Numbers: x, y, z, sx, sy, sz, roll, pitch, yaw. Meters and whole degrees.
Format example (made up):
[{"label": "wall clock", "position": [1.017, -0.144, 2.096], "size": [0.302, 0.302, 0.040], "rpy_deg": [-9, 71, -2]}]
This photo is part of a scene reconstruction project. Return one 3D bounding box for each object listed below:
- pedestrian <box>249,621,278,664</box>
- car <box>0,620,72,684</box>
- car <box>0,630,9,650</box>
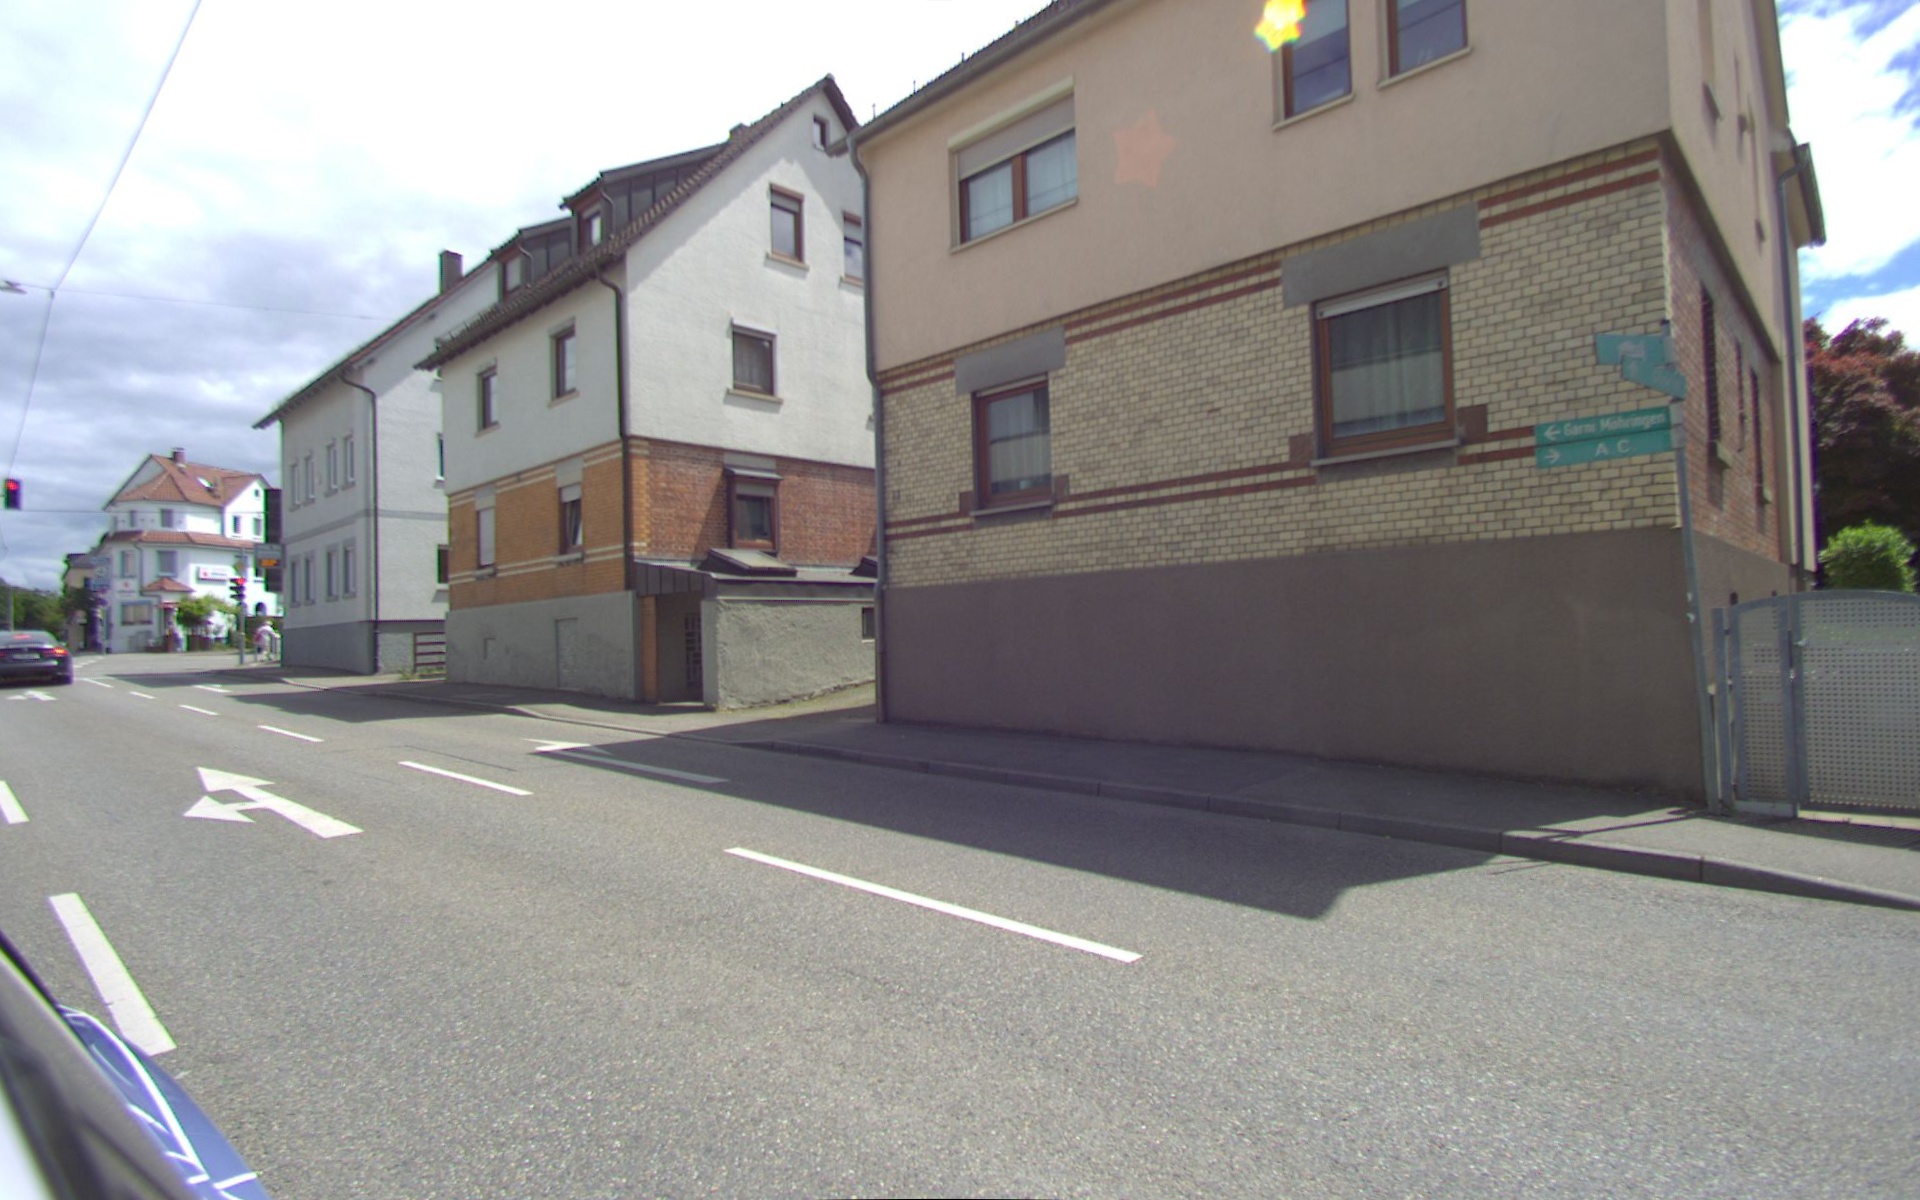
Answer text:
[{"label": "pedestrian", "position": [-26.484, 1.605, 38.478], "size": [0.675, 1.620, 0.582], "rpy_deg": [-1, 0, 15]}, {"label": "car", "position": [-24.467, 1.358, 26.271], "size": [4.000, 1.497, 1.771], "rpy_deg": [-3, -1, 44]}, {"label": "car", "position": [-97.854, 4.076, 102.504], "size": [3.999, 2.029, 1.972], "rpy_deg": [-2, -1, 43]}]
